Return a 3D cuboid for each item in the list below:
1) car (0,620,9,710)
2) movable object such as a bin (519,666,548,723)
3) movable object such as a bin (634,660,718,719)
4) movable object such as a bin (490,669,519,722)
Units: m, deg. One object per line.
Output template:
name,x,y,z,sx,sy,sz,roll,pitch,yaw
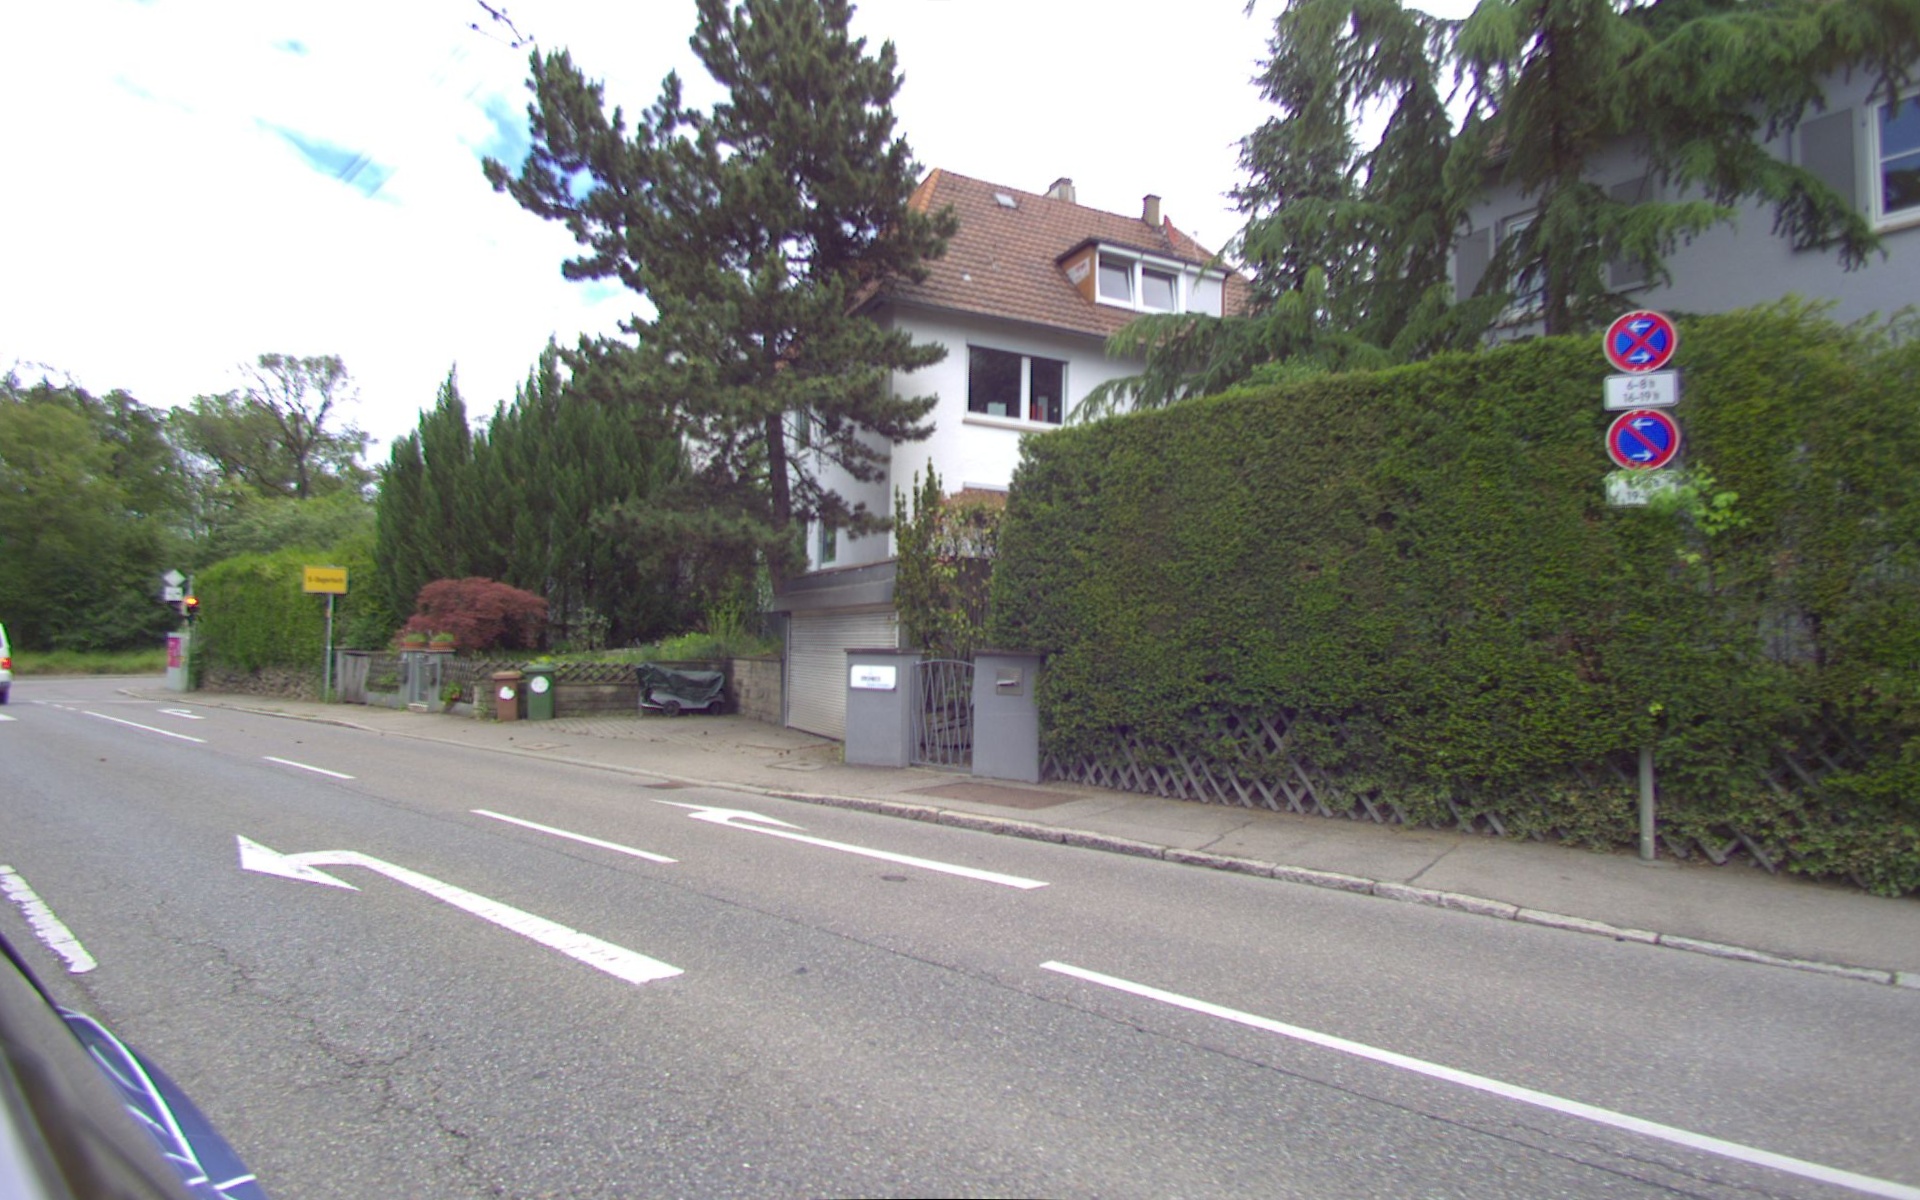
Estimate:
car,-24.513,1.542,24.288,5.168,2.063,1.839,-3,-4,40
movable object such as a bin,-8.103,1.779,19.223,0.472,1.042,0.718,0,-2,-21
movable object such as a bin,-5.591,1.747,19.909,1.570,1.089,0.719,0,-2,-18
movable object such as a bin,-8.573,1.793,19.071,0.457,0.949,0.649,0,-2,-21
